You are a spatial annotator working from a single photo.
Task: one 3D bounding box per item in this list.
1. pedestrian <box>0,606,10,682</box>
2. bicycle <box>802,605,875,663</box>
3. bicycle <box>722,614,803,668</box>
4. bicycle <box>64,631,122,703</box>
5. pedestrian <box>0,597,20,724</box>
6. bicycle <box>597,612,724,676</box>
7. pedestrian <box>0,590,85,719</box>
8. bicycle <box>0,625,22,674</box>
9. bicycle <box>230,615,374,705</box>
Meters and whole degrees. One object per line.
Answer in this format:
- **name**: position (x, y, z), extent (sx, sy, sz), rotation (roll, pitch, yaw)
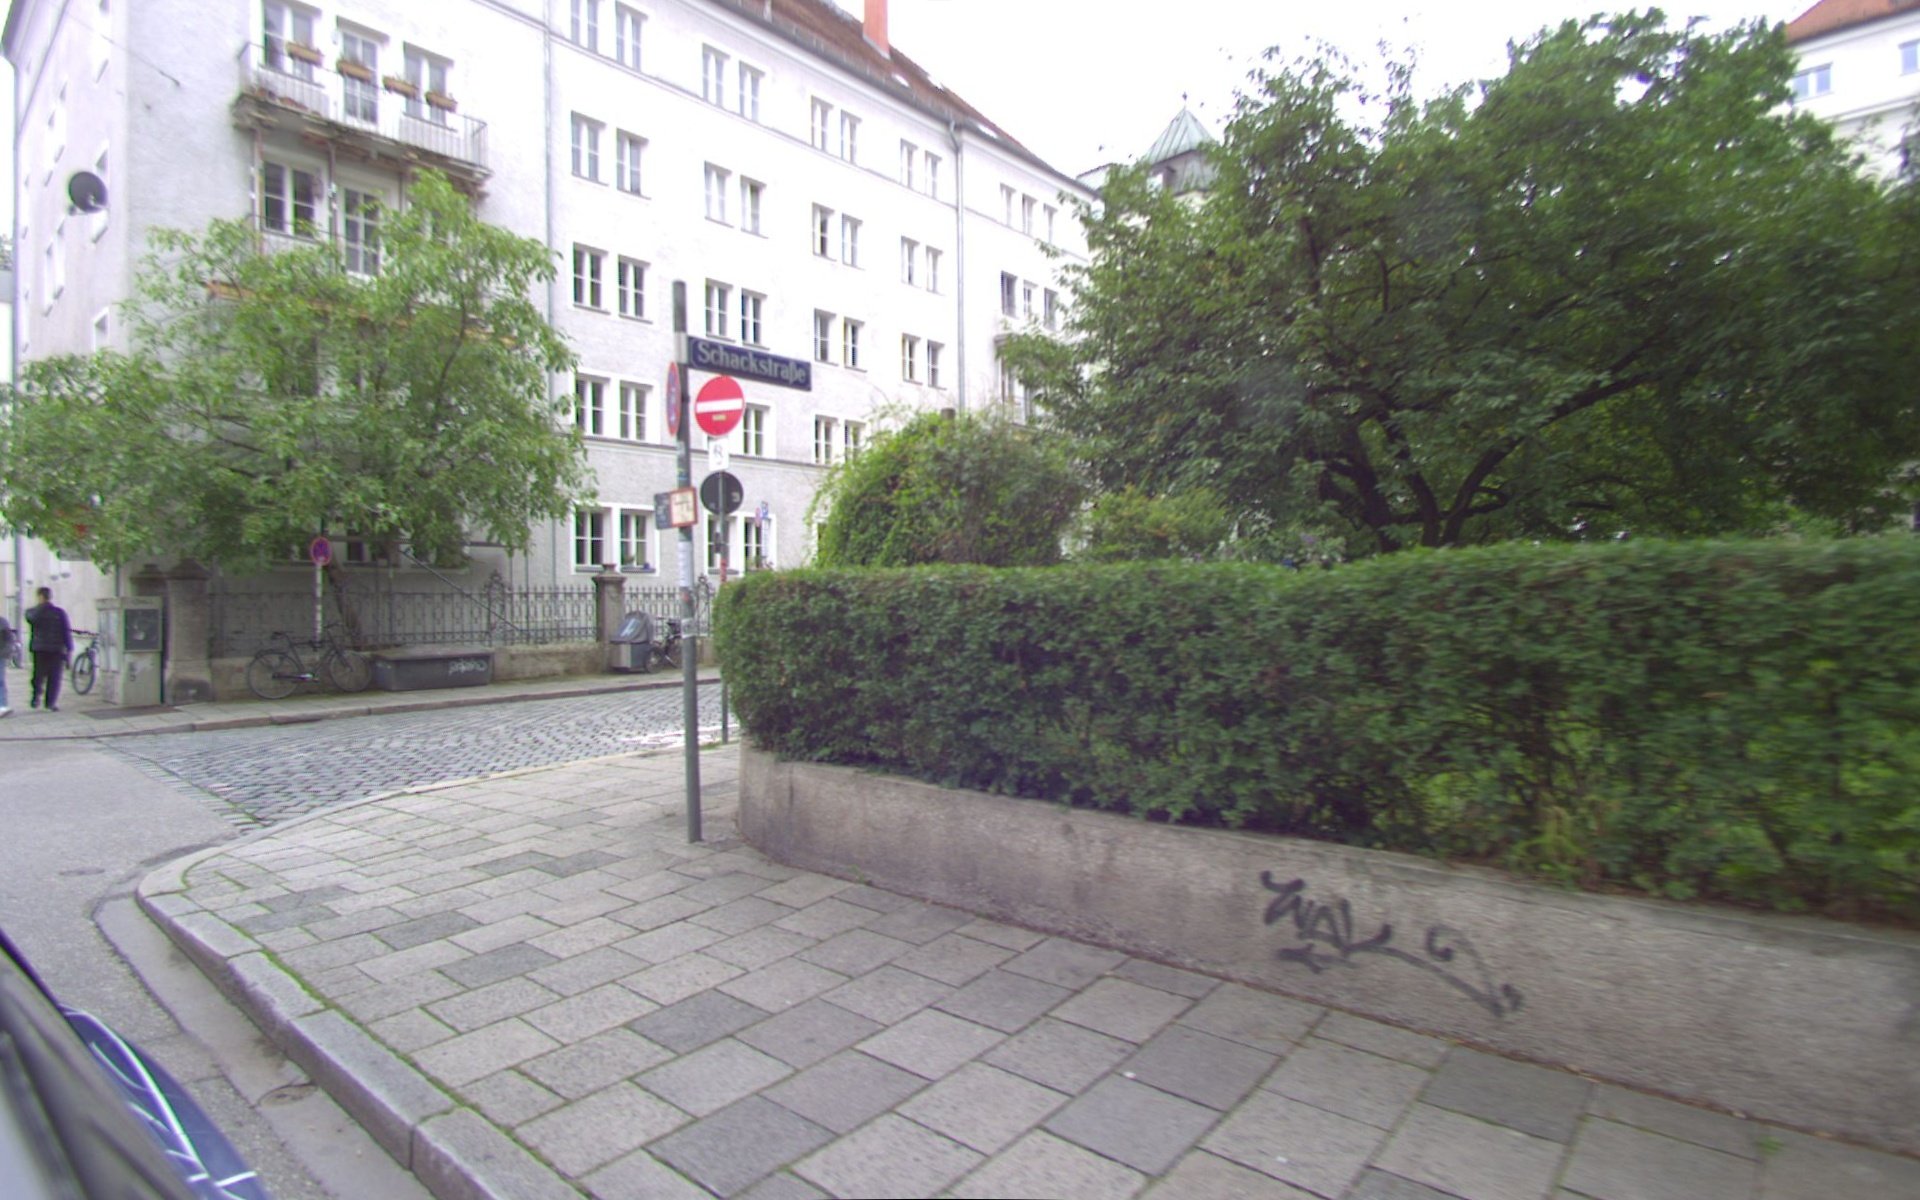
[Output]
- **pedestrian**: position (-22.621, 1.043, 23.462), extent (0.841, 1.740, 0.686), rotation (-1, 3, 42)
- **bicycle**: position (-2.805, 0.772, 23.576), extent (0.412, 1.283, 1.827), rotation (-2, -1, 45)
- **bicycle**: position (-4.279, 0.874, 22.021), extent (0.412, 1.112, 1.827), rotation (-2, -1, 45)
- **bicycle**: position (-14.245, 1.080, 16.605), extent (1.702, 1.103, 0.426), rotation (-1, 1, 40)
- **pedestrian**: position (-13.367, 0.832, 13.769), extent (0.859, 1.690, 0.683), rotation (-1, 2, 40)
- **bicycle**: position (-5.823, 0.821, 19.875), extent (0.987, 1.165, 2.465), rotation (-1, -1, 26)
- **pedestrian**: position (-13.260, 0.767, 14.614), extent (0.739, 1.776, 0.684), rotation (-2, 1, 32)
- **bicycle**: position (-24.816, 1.274, 26.170), extent (1.495, 1.203, 0.445), rotation (-1, 0, 33)
- **bicycle**: position (-10.027, 0.885, 15.476), extent (0.432, 1.270, 1.788), rotation (-1, -1, 40)
